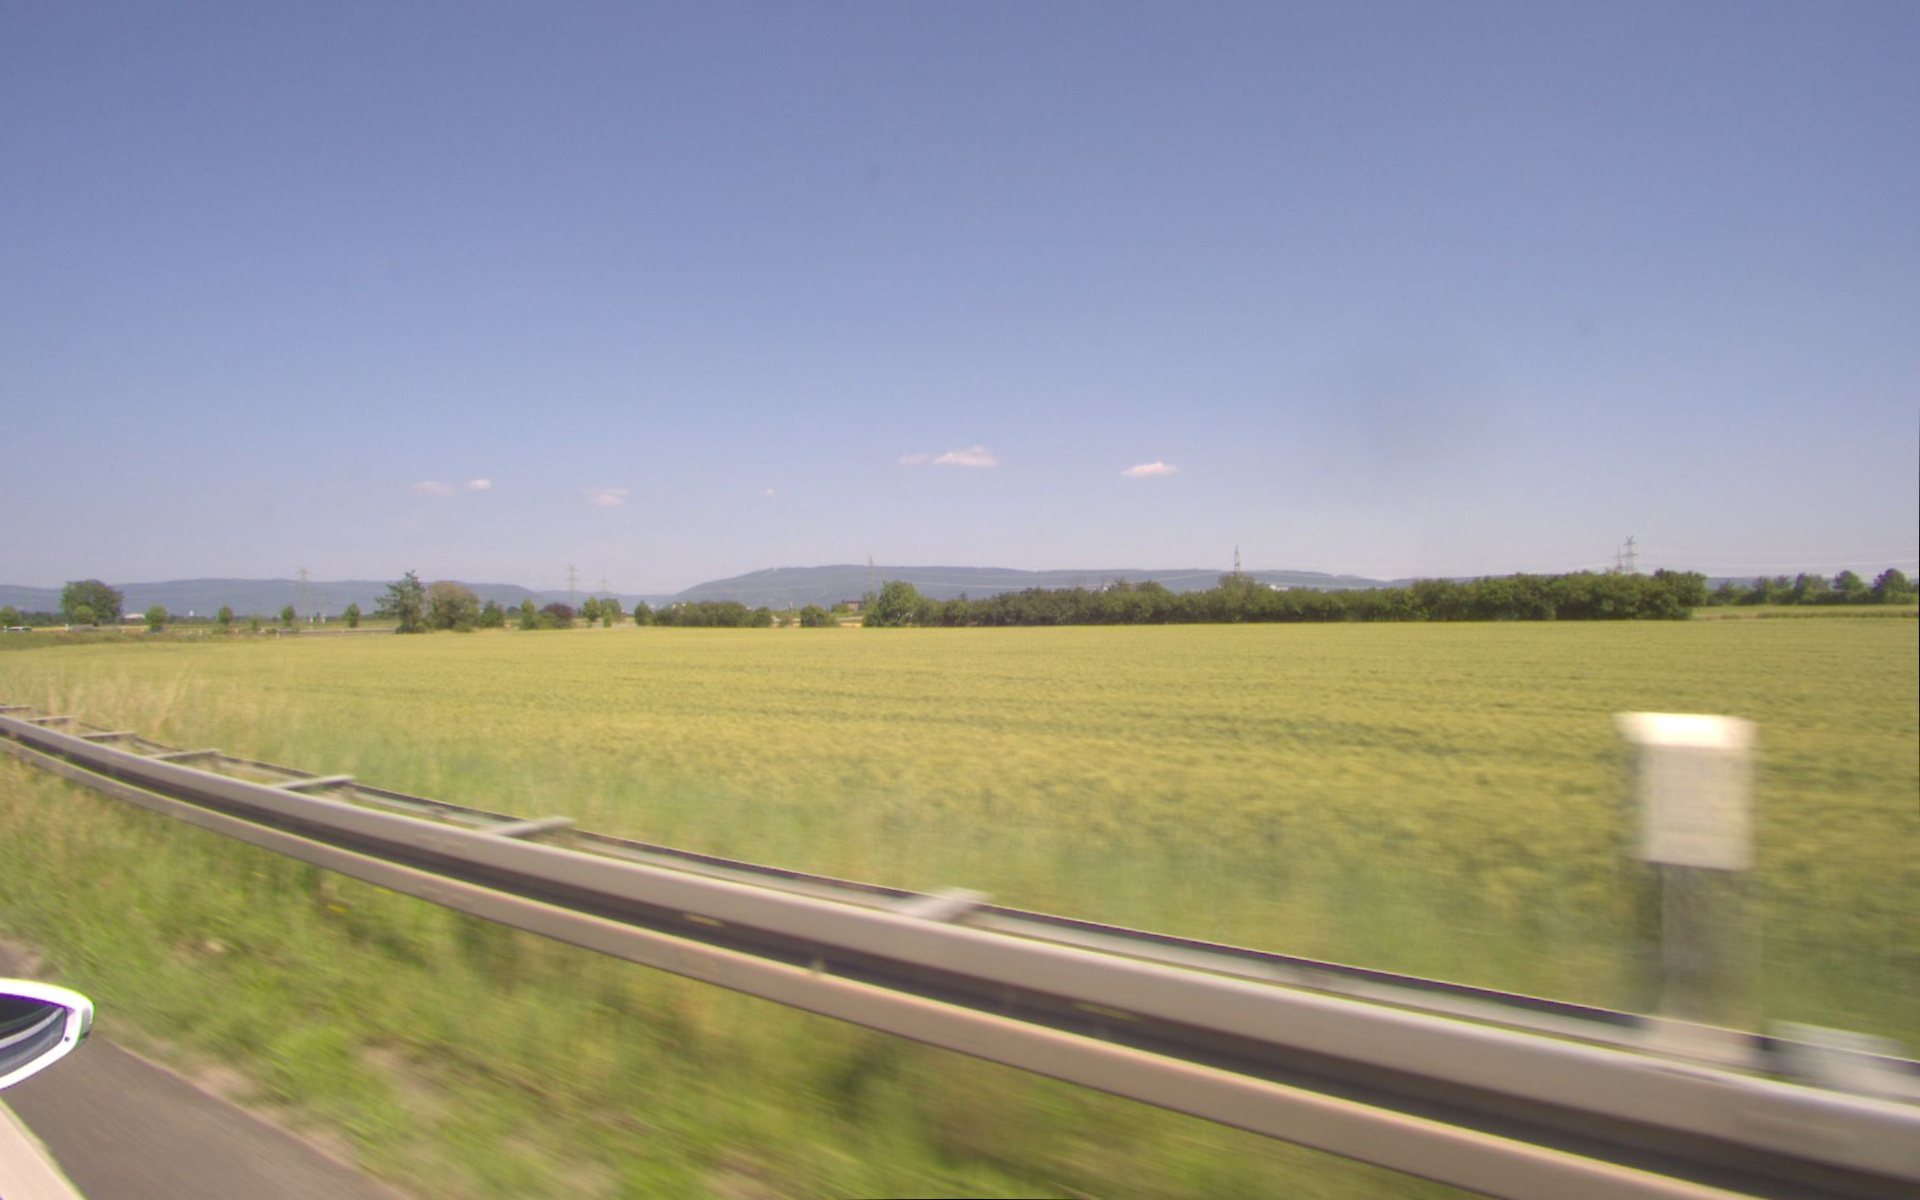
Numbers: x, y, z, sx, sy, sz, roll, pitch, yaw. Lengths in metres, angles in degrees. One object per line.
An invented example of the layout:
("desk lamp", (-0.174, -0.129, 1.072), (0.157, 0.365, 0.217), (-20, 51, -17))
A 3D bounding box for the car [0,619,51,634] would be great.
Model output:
("car", (-108.308, 3.092, 116.028), (1.961, 1.705, 4.002), (0, -2, 7))

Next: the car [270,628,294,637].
("car", (-116.077, 5.586, 171.512), (1.617, 1.504, 3.487), (0, -2, 1))
